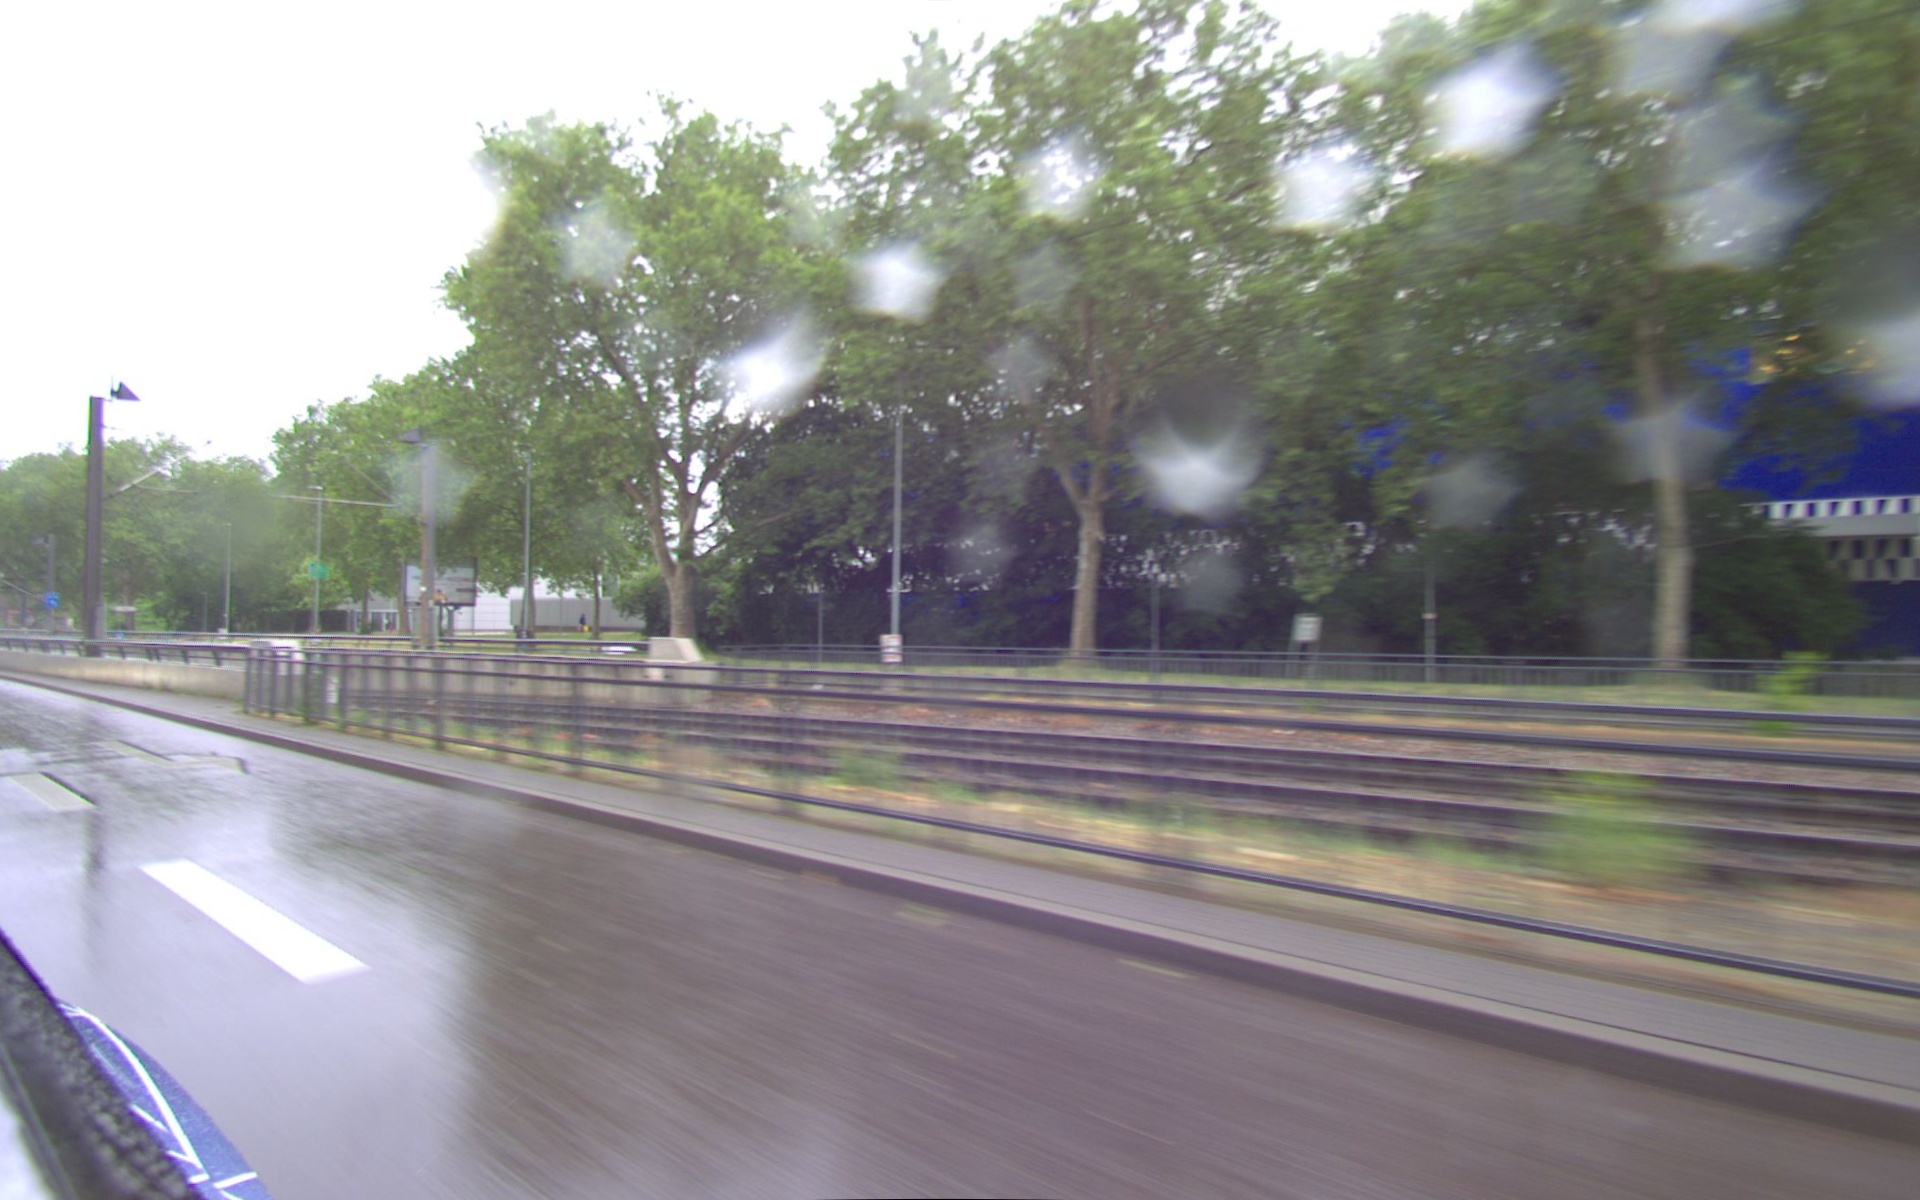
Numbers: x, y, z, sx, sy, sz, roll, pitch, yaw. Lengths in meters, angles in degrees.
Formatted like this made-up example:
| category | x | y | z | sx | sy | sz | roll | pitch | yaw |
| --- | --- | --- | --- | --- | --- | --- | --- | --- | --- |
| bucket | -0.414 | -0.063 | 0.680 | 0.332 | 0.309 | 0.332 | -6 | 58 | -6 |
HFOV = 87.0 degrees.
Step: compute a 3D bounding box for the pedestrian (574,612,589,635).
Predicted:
| category | x | y | z | sx | sy | sz | roll | pitch | yaw |
| --- | --- | --- | --- | --- | --- | --- | --- | --- | --- |
| pedestrian | -34.530 | 2.125 | 92.395 | 0.789 | 2.029 | 0.991 | -1 | 0 | 40 |
